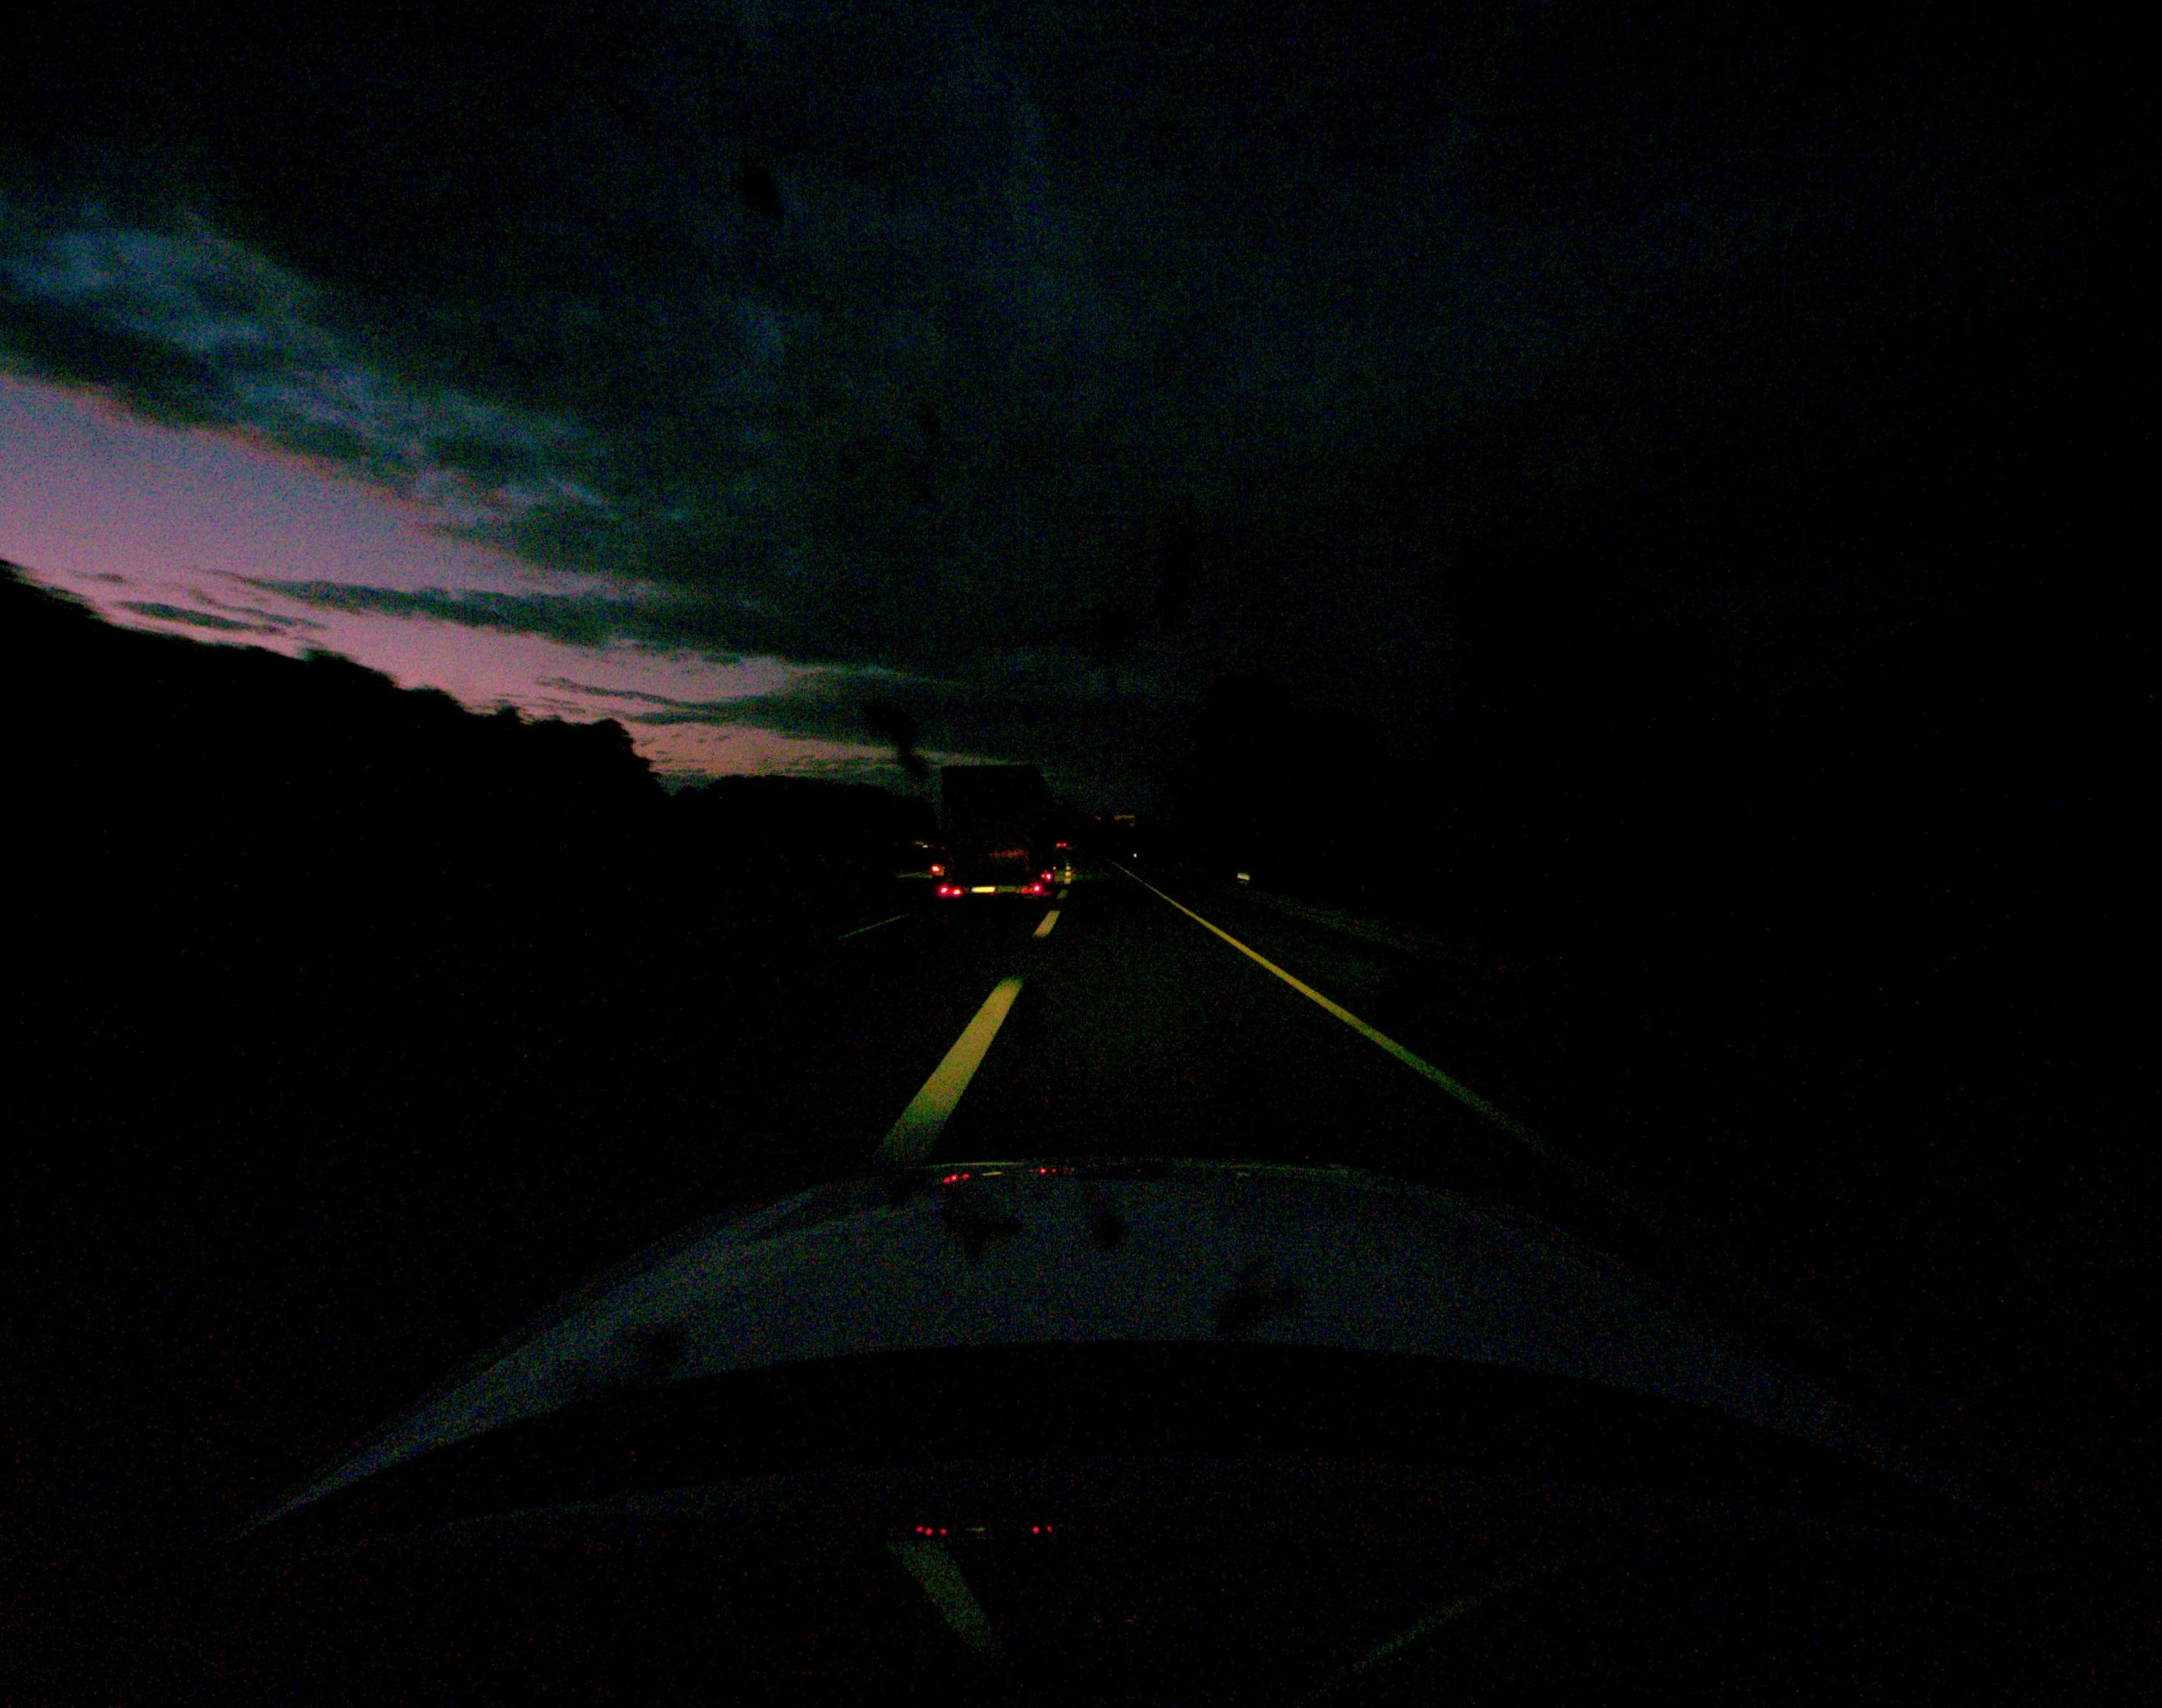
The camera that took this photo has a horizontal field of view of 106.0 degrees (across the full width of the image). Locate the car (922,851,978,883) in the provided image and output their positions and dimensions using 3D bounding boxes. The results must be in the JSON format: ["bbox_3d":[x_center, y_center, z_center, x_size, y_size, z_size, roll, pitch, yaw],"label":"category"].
[{"bbox_3d":[-6.899,0.731,43.423,1.898,1.614,4.808,0,-2,4],"label":"car"}]

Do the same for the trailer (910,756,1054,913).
[{"bbox_3d":[-2.888,-0.522,29.210,3.540,4.116,15.055,-1,0,-1],"label":"trailer"}]

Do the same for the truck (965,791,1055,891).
[{"bbox_3d":[-3.033,-0.542,36.692,3.541,4.091,6.148,-1,0,-1],"label":"truck"}]

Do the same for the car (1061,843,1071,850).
[{"bbox_3d":[-3.355,-1.713,176.894,1.990,1.354,3.993,0,-2,-4],"label":"car"}]
